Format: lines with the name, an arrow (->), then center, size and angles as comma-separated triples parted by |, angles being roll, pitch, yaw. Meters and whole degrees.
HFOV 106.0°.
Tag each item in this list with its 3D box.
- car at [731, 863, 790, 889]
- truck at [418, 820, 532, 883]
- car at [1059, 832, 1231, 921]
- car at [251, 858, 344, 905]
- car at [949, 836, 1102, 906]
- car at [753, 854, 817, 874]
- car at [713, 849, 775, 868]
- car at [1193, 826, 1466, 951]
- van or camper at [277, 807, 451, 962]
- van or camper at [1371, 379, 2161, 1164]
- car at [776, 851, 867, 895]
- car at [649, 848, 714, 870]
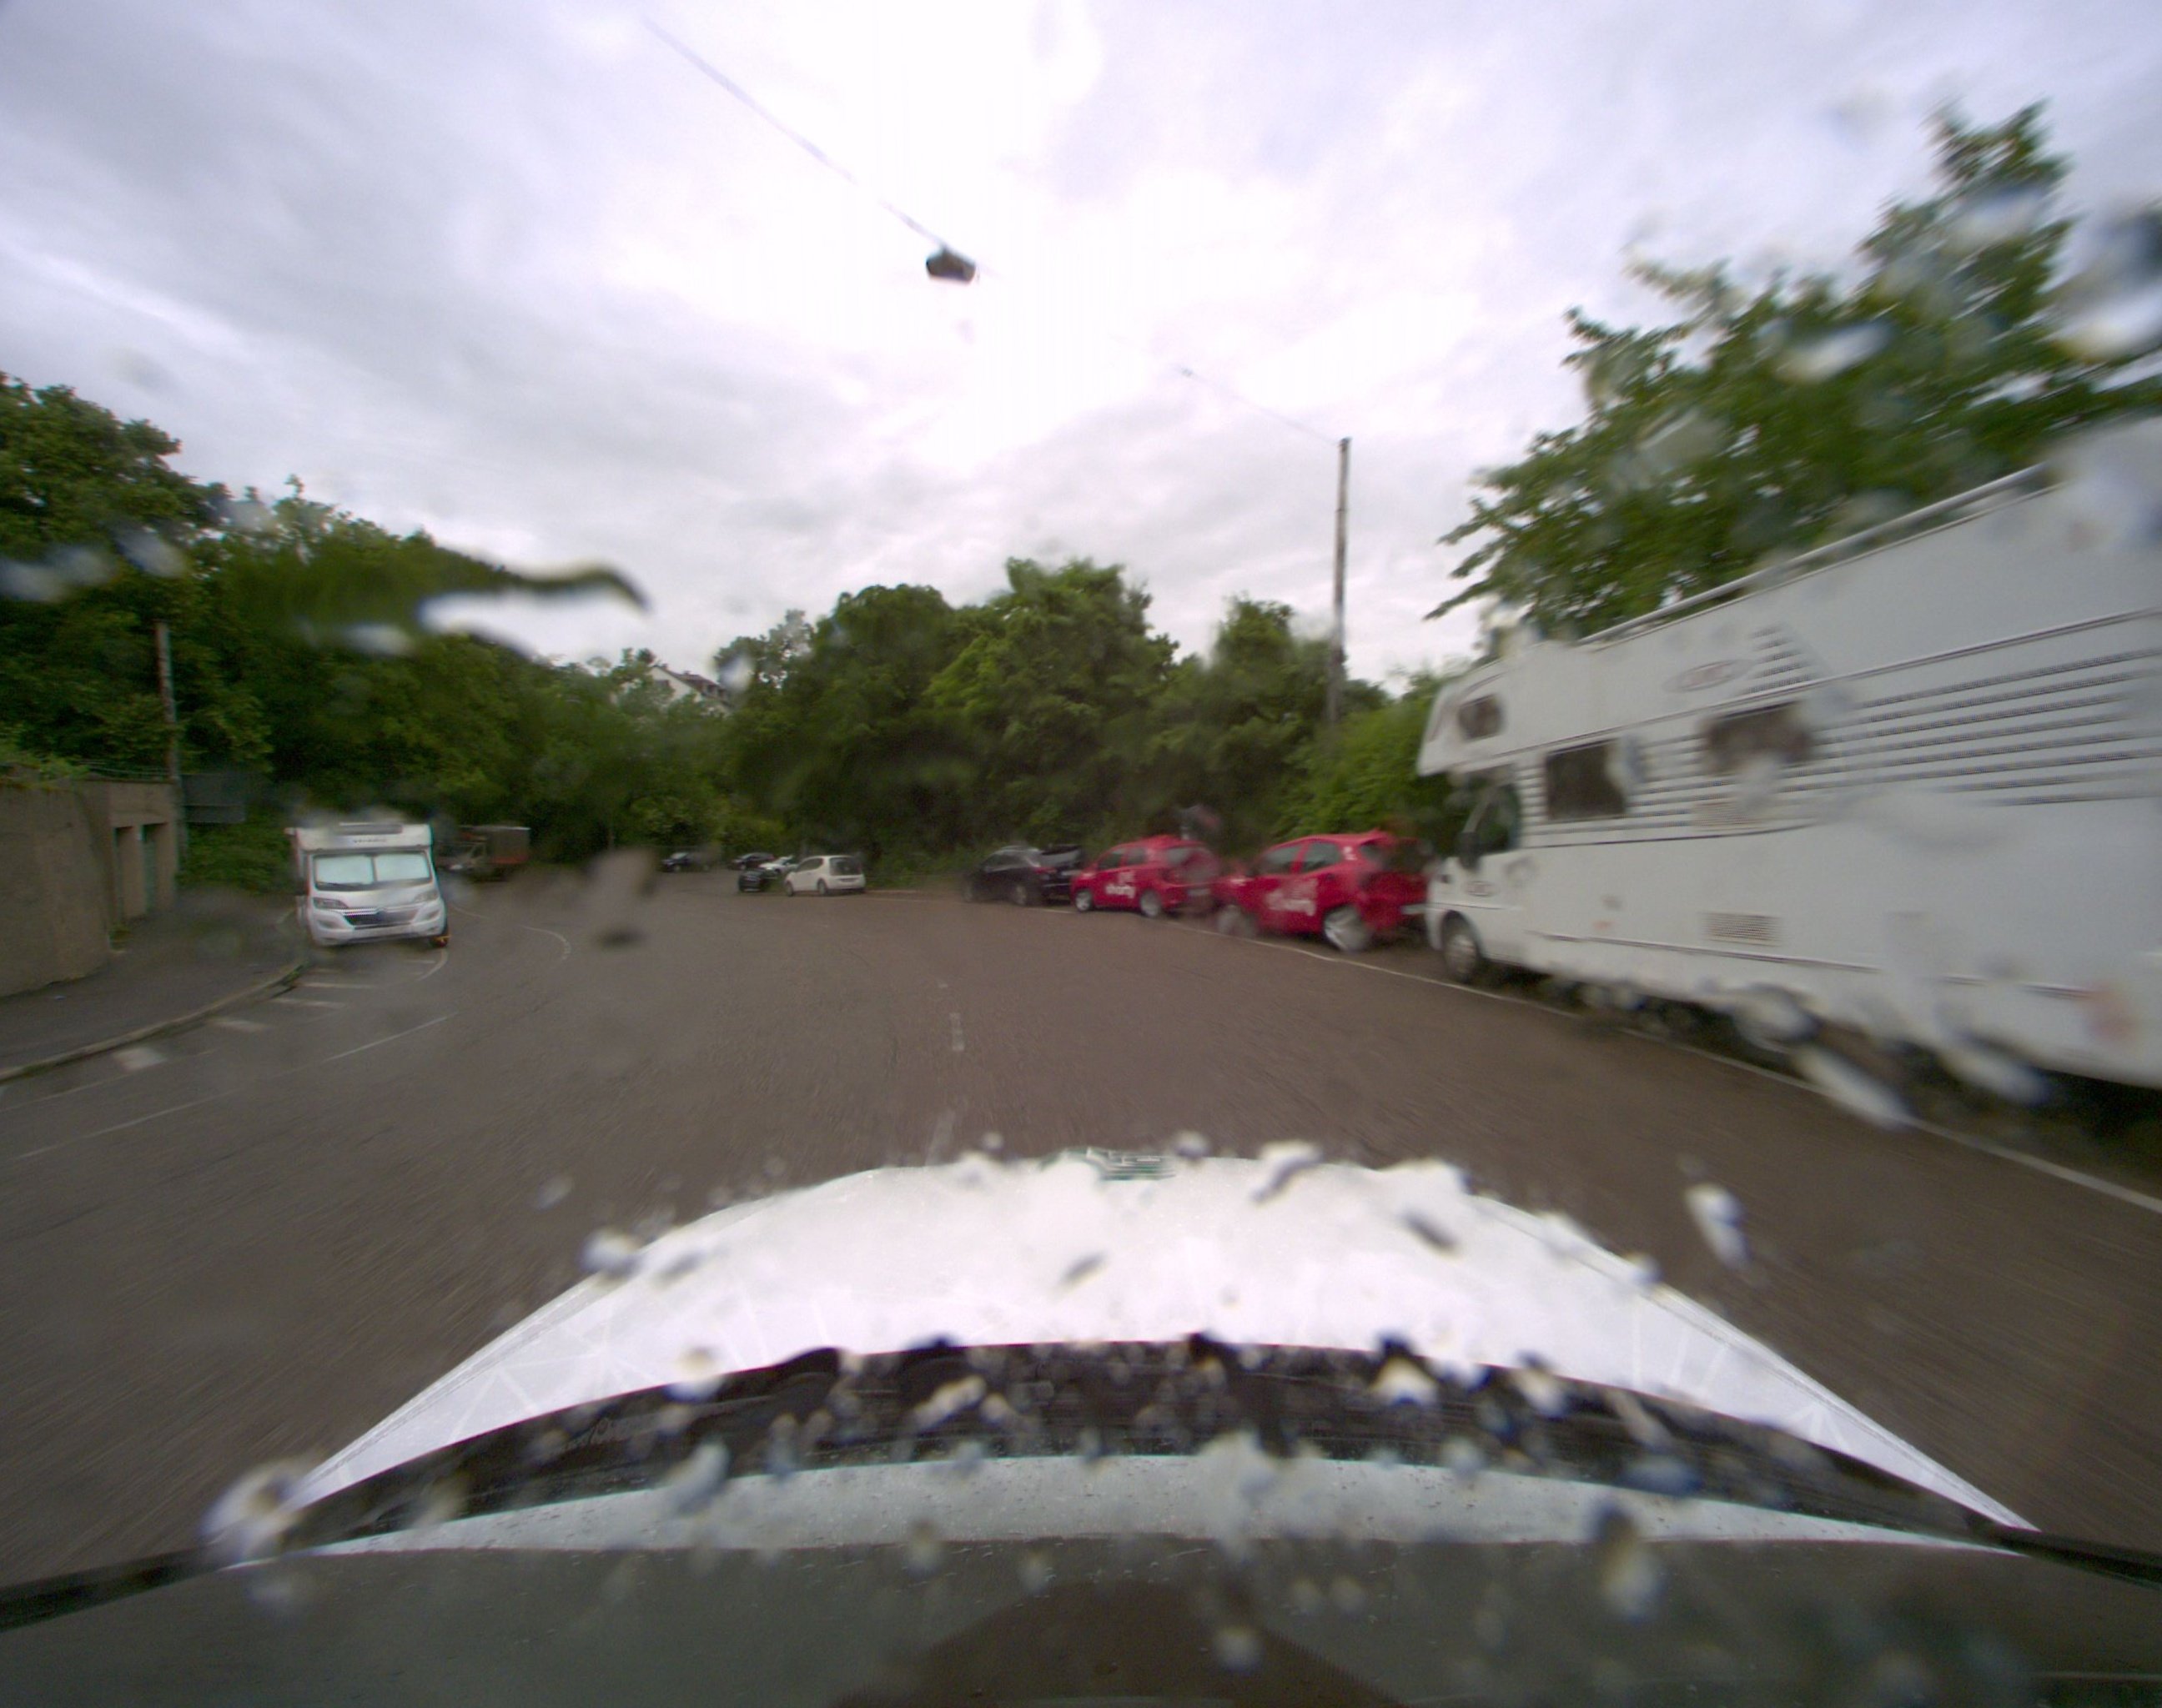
car -> -20.166, 1.373, 51.401 | 1.641, 1.465, 4.039 | 4, 0, 6
truck -> -32.873, -0.161, 44.527 | 2.033, 3.103, 6.593 | 2, 0, -9
car -> 1.187, 0.379, 16.486 | 1.569, 1.513, 3.639 | -4, 2, -32
car -> -29.082, 0.970, 30.374 | 1.711, 1.498, 4.482 | 0, 1, -33
car -> -1.546, 0.373, 20.821 | 1.731, 1.513, 4.545 | -4, 2, -35
car -> -23.529, 0.785, 64.888 | 1.781, 1.570, 4.484 | 1, 0, 38
car -> -27.882, 0.389, 67.507 | 1.737, 1.355, 4.340 | 6, 3, 39
car -> 3.444, 0.413, 12.011 | 1.650, 1.460, 3.773 | -4, 2, -27
van or camper -> -16.019, 0.510, 18.003 | 6.962, 2.788, 2.176 | 0, 4, 44
van or camper -> 4.878, -0.389, 6.154 | 2.388, 2.944, 6.266 | -3, 1, -7
car -> -9.664, 0.706, 30.266 | 3.620, 1.501, 1.600 | -2, -1, 42
car -> -30.784, 0.335, 62.896 | 1.763, 1.465, 4.337 | 5, 2, 24
